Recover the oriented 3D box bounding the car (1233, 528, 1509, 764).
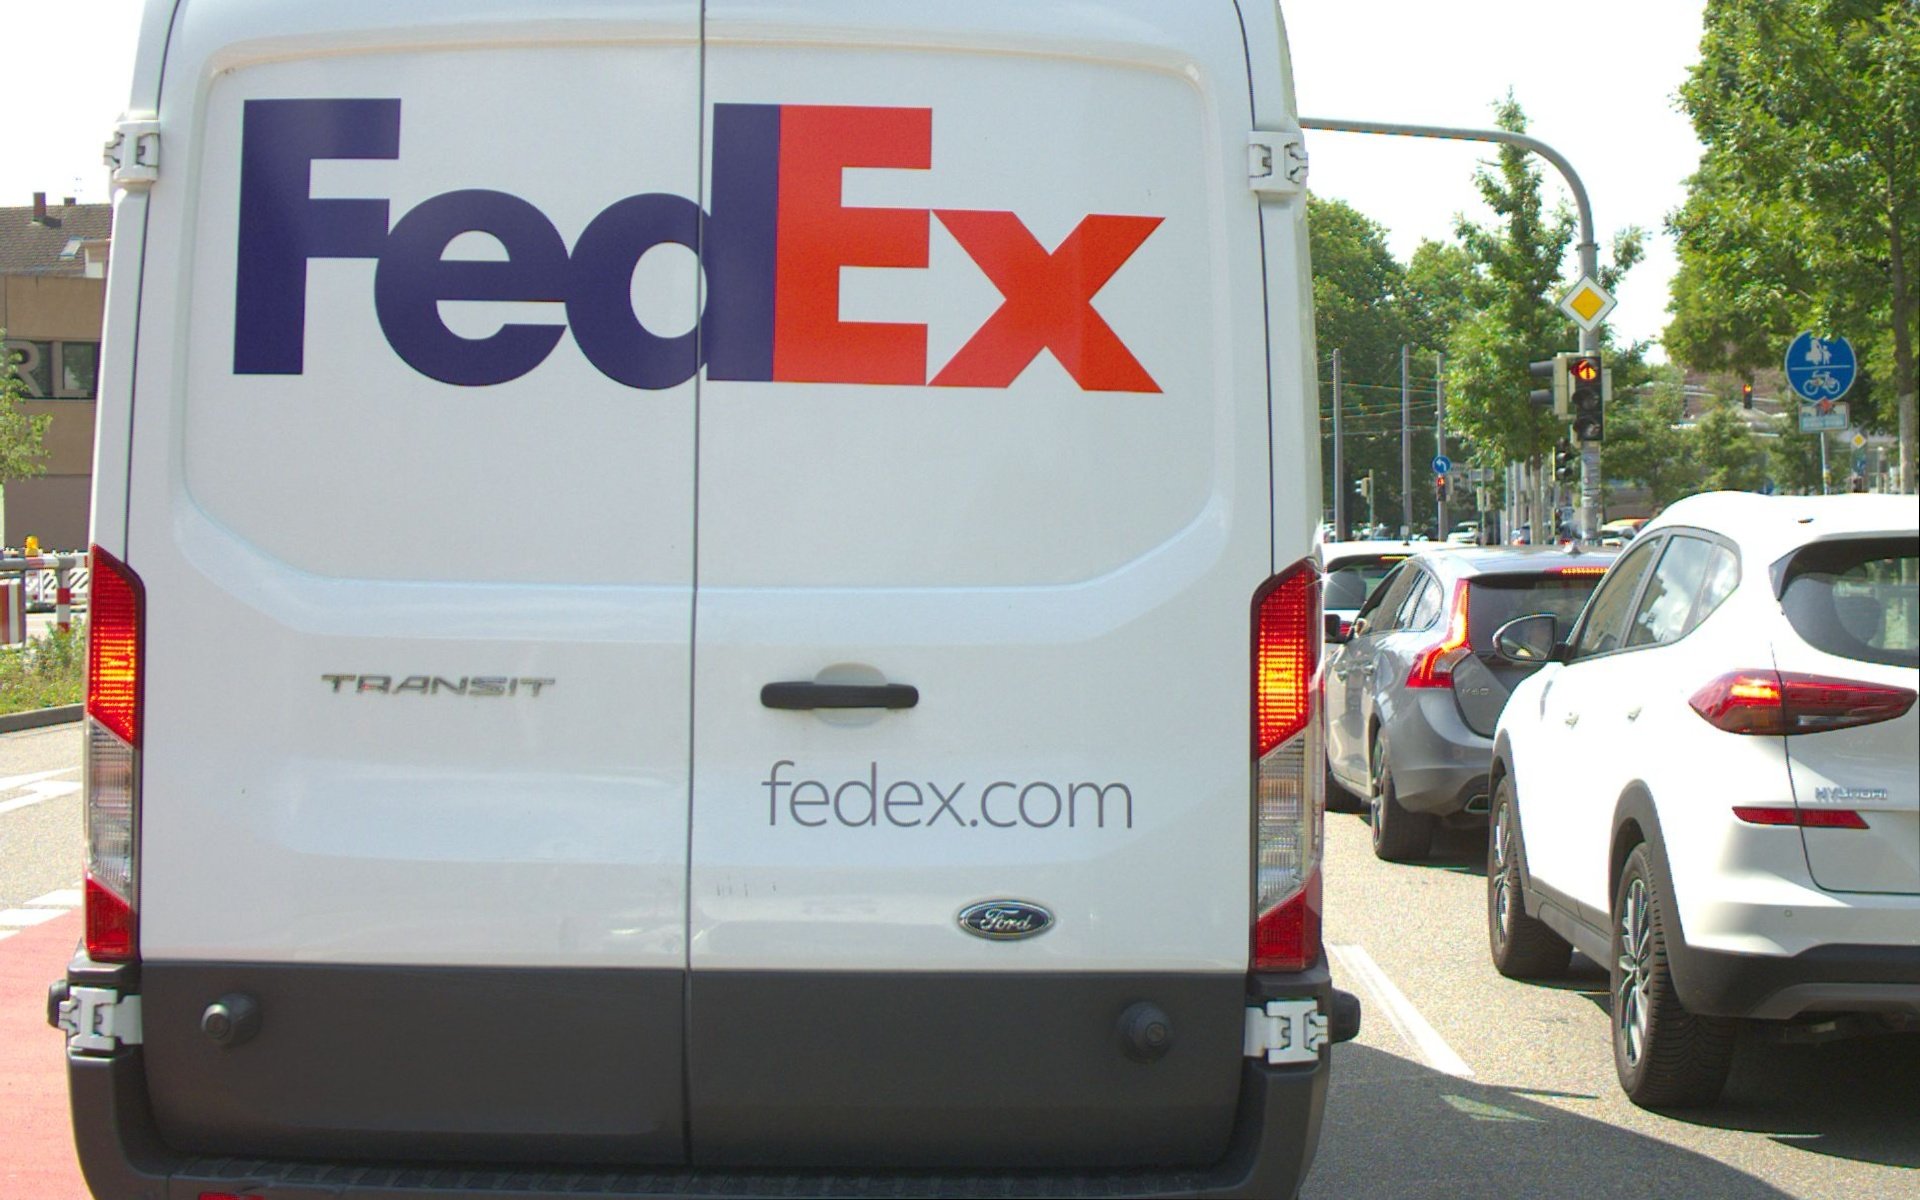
[{"bbox_3d":[2.721,0.254,23.338,1.499,1.459,3.474,0,1,1],"label":"car"}]

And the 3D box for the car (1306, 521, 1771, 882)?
[{"bbox_3d":[2.692,0.398,16.753,1.691,1.543,3.720,0,1,1],"label":"car"}]

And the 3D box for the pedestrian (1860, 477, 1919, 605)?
[{"bbox_3d":[13.067,-0.832,48.174,0.759,1.783,0.816,0,1,6],"label":"pedestrian"}]

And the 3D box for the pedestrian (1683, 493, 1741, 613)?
[{"bbox_3d":[11.678,-0.738,53.410,0.759,1.843,0.816,-1,1,3],"label":"pedestrian"}]

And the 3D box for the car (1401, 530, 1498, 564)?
[{"bbox_3d":[22.585,-2.462,158.707,4.232,1.493,1.741,-1,1,-1],"label":"car"}]

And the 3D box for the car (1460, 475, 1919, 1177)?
[{"bbox_3d":[2.648,0.486,10.170,1.814,1.673,3.974,0,1,1],"label":"car"}]

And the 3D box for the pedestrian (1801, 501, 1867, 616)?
[{"bbox_3d":[14.210,-0.677,55.910,0.758,1.843,0.816,-1,1,-10],"label":"pedestrian"}]

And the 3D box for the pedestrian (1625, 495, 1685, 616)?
[{"bbox_3d":[10.753,-0.694,53.201,0.759,1.843,0.816,-1,1,1],"label":"pedestrian"}]

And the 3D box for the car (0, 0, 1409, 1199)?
[{"bbox_3d":[-0.355,0.075,7.198,2.072,2.572,4.428,0,1,1],"label":"car"}]

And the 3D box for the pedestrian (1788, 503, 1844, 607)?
[{"bbox_3d":[15.391,-0.818,61.799,0.758,1.843,0.816,-1,1,-3],"label":"pedestrian"}]

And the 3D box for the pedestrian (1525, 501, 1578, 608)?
[{"bbox_3d":[10.311,-0.797,59.991,0.813,1.843,0.761,0,1,3],"label":"pedestrian"}]

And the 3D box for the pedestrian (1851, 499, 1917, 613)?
[{"bbox_3d":[15.101,-0.729,56.199,0.758,1.843,0.816,-1,1,-8],"label":"pedestrian"}]

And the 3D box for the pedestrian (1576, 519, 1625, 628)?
[{"bbox_3d":[11.001,-0.463,59.057,0.759,1.843,0.816,0,1,15],"label":"pedestrian"}]
